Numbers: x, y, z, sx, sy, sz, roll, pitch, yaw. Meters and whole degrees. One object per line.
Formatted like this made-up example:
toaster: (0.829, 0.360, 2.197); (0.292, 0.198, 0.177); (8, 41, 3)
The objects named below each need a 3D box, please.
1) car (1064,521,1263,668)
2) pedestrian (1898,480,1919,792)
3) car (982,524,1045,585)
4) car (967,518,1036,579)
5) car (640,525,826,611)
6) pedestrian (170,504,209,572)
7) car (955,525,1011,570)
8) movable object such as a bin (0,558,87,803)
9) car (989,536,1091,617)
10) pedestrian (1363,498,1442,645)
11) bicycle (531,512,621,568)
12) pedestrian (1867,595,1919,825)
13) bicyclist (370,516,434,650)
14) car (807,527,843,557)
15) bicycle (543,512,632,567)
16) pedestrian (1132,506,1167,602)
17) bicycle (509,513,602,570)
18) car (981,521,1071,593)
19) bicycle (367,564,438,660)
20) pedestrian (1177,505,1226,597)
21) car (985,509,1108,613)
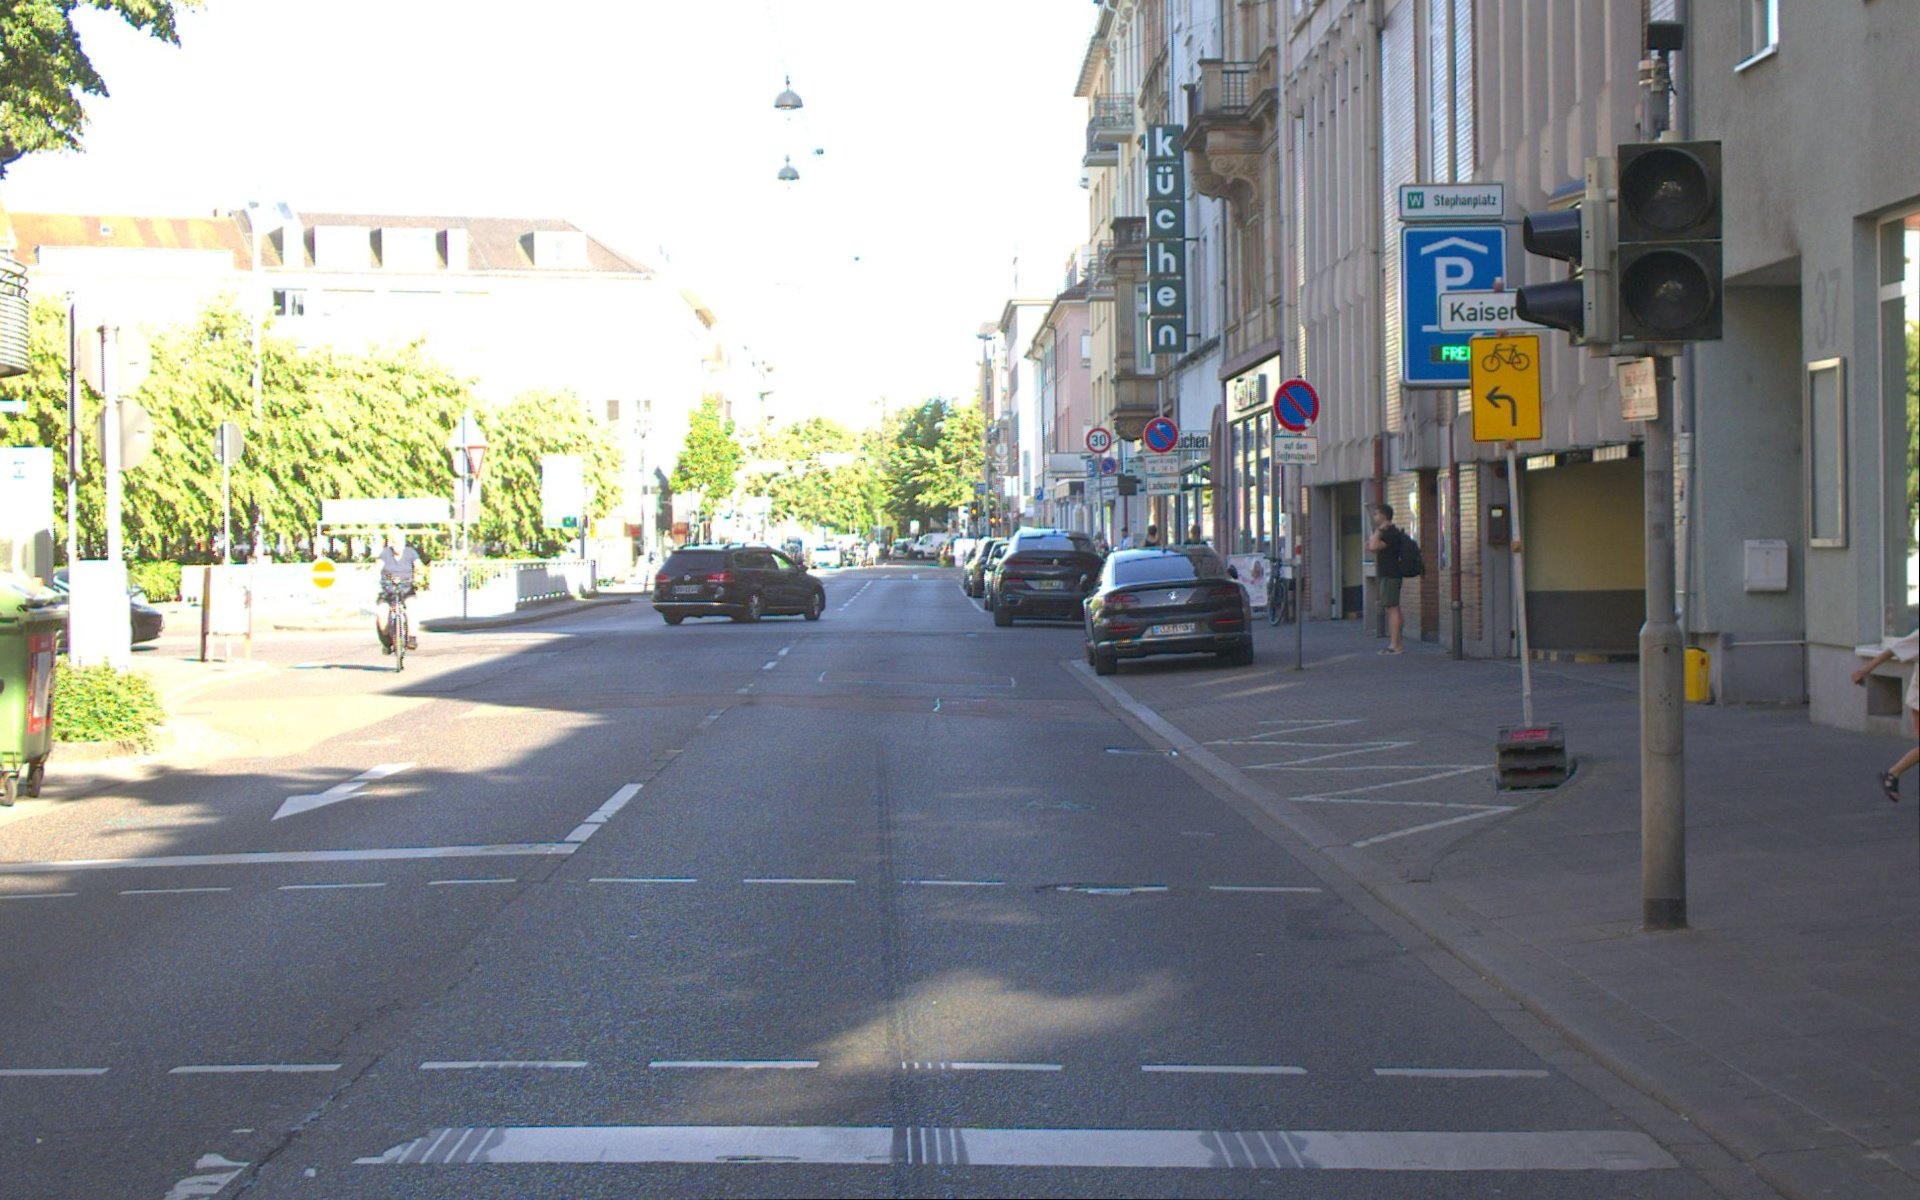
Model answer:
car: (2.344, -0.119, 40.782); (1.917, 1.473, 4.965); (-4, 1, 0)
pedestrian: (5.046, 0.173, 16.702); (0.580, 1.554, 1.021); (-4, 1, -2)
car: (1.405, -1.204, 90.680); (1.613, 1.541, 2.855); (1, 2, 1)
car: (1.136, -1.418, 96.158); (1.716, 1.630, 4.085); (1, 0, -2)
car: (-4.132, -0.607, 63.201); (1.936, 1.482, 4.267); (0, 2, 18)
pedestrian: (-23.686, -1.904, 105.655); (0.733, 2.101, 0.966); (0, 1, 22)
car: (0.747, -1.722, 113.744); (1.792, 1.455, 3.868); (1, 0, -1)
movable object such as a bin: (-6.187, 0.489, 21.582); (1.042, 1.466, 1.453); (-1, 1, -2)
car: (1.534, -0.484, 67.258); (1.839, 1.482, 4.185); (1, 2, -1)
pedestrian: (5.085, -0.336, 39.526); (0.691, 1.630, 0.889); (-3, 1, -1)
bicycle: (-13.964, -2.192, 125.099); (3.122, 2.007, 0.908); (0, 1, 9)
pedestrian: (4.555, 0.500, 16.003); (0.393, 1.030, 0.740); (-4, 1, -2)
bicyclist: (-7.003, -0.218, 43.179); (0.696, 1.647, 1.036); (-1, 1, -5)
car: (-8.282, -3.578, 211.587); (1.993, 1.765, 4.000); (0, 2, 1)
bicycle: (-13.771, -2.240, 127.220); (3.122, 2.007, 0.908); (0, 1, 9)
pedestrian: (3.516, -0.859, 63.967); (0.620, 1.760, 0.518); (-1, 1, 2)
bicycle: (-14.357, -2.091, 122.105); (3.122, 2.007, 0.908); (0, 1, 9)
car: (1.458, -0.995, 77.630); (1.839, 1.541, 4.229); (1, 2, -1)
bicycle: (-6.997, 0.134, 43.208); (0.705, 1.142, 1.968); (-1, 1, -5)
pedestrian: (4.487, -0.909, 63.907); (0.801, 1.669, 0.589); (-2, 1, 2)
car: (1.471, -0.725, 60.254); (1.973, 1.719, 4.824); (1, 2, -1)
